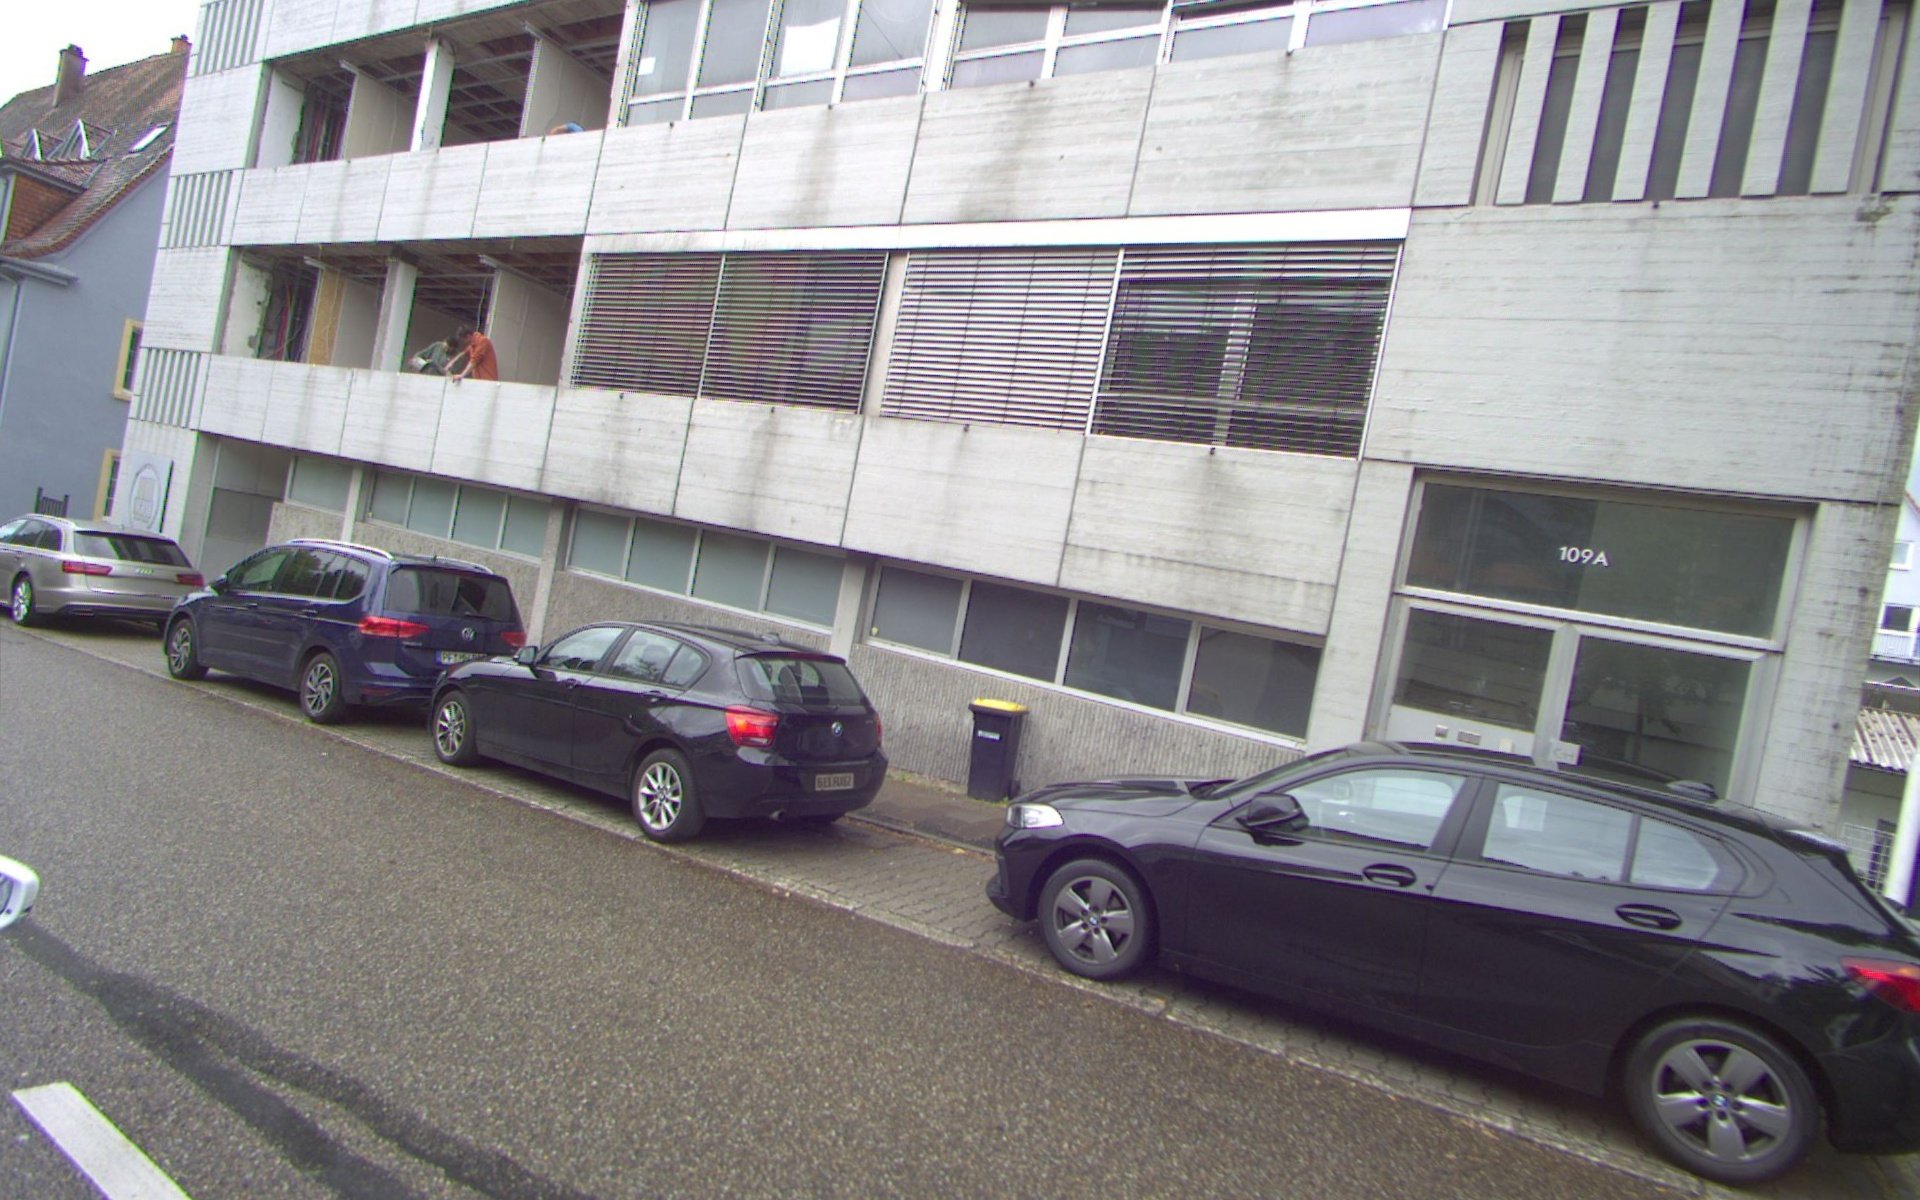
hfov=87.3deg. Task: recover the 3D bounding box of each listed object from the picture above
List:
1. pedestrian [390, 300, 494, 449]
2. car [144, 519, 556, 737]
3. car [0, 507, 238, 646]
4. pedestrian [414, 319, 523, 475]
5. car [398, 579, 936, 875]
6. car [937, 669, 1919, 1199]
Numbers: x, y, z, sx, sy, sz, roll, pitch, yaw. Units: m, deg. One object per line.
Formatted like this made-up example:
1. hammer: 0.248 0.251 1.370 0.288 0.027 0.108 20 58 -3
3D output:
1. pedestrian: -8.059 -3.478 15.673 0.846 2.036 0.909 6 -2 31
2. car: -6.333 0.238 10.363 4.090 1.618 1.732 7 -1 30
3. car: -12.620 -0.415 14.372 4.449 1.465 1.967 7 -1 30
4. pedestrian: -7.292 -2.978 14.938 0.846 2.036 0.909 6 -2 31
5. car: -2.460 0.829 8.032 4.183 1.465 1.750 7 -1 34
6. car: 2.328 1.434 5.333 4.367 1.451 1.999 7 -2 30
